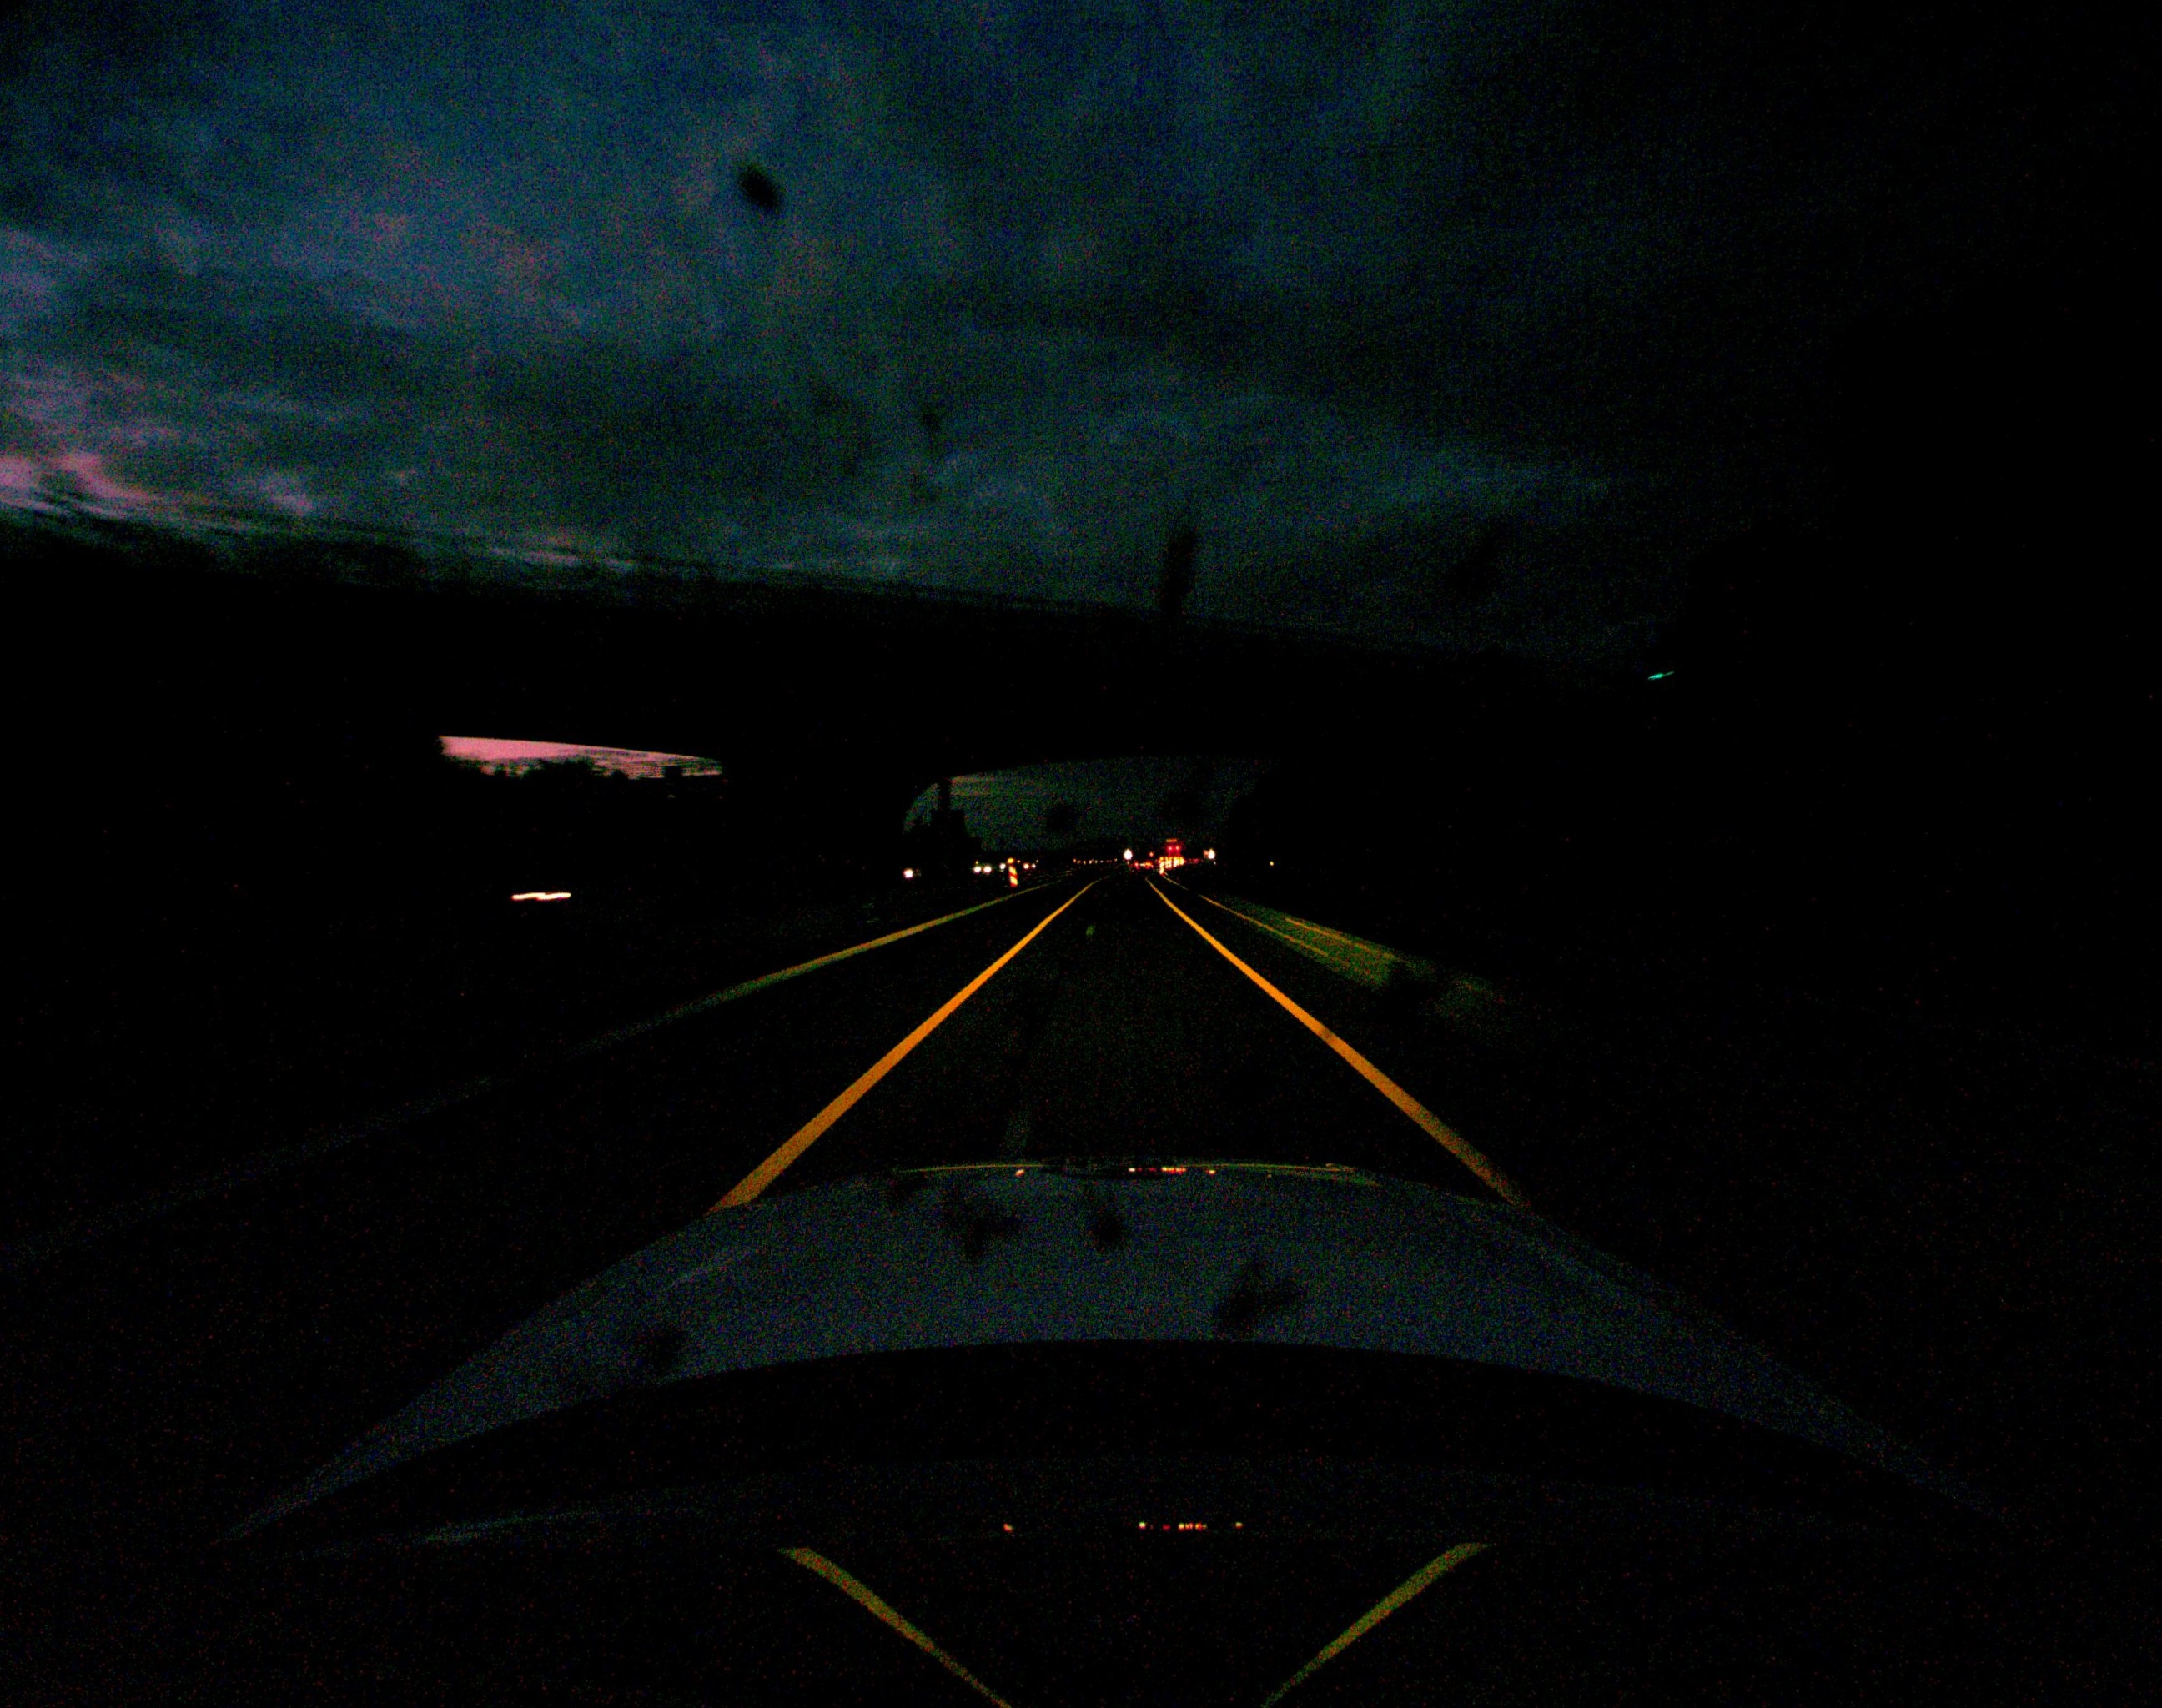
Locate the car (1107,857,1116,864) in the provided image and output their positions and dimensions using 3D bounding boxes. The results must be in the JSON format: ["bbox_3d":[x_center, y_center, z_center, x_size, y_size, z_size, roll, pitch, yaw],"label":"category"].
[{"bbox_3d":[8.474,1.728,225.787,1.983,1.828,4.008,0,-1,7],"label":"car"}]

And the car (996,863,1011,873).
[{"bbox_3d":[-13.625,2.392,143.322,1.897,1.715,3.950,0,-1,6],"label":"car"}]

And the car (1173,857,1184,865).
[{"bbox_3d":[19.170,1.397,160.455,1.962,1.437,4.005,0,-1,5],"label":"car"}]

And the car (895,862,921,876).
[{"bbox_3d":[-18.275,1.553,86.196,1.695,1.455,3.934,0,-1,4],"label":"car"}]

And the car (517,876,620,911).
[{"bbox_3d":[-22.844,1.743,36.469,1.986,1.323,4.001,-2,0,1],"label":"car"}]

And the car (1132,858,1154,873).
[{"bbox_3d":[6.737,1.276,88.615,2.256,1.621,4.003,0,-1,3],"label":"car"}]

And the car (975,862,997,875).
[{"bbox_3d":[-12.572,1.908,108.120,1.821,1.661,4.848,0,-1,5],"label":"car"}]

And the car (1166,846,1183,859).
[{"bbox_3d":[24.504,-0.298,213.950,3.592,3.396,8.015,0,-1,1],"label":"car"}]

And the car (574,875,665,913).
[{"bbox_3d":[-19.056,1.618,33.831,1.620,1.406,3.522,0,-1,3],"label":"car"}]

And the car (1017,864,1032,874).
[{"bbox_3d":[-10.085,2.626,145.046,1.821,1.661,4.848,0,-1,5],"label":"car"}]
